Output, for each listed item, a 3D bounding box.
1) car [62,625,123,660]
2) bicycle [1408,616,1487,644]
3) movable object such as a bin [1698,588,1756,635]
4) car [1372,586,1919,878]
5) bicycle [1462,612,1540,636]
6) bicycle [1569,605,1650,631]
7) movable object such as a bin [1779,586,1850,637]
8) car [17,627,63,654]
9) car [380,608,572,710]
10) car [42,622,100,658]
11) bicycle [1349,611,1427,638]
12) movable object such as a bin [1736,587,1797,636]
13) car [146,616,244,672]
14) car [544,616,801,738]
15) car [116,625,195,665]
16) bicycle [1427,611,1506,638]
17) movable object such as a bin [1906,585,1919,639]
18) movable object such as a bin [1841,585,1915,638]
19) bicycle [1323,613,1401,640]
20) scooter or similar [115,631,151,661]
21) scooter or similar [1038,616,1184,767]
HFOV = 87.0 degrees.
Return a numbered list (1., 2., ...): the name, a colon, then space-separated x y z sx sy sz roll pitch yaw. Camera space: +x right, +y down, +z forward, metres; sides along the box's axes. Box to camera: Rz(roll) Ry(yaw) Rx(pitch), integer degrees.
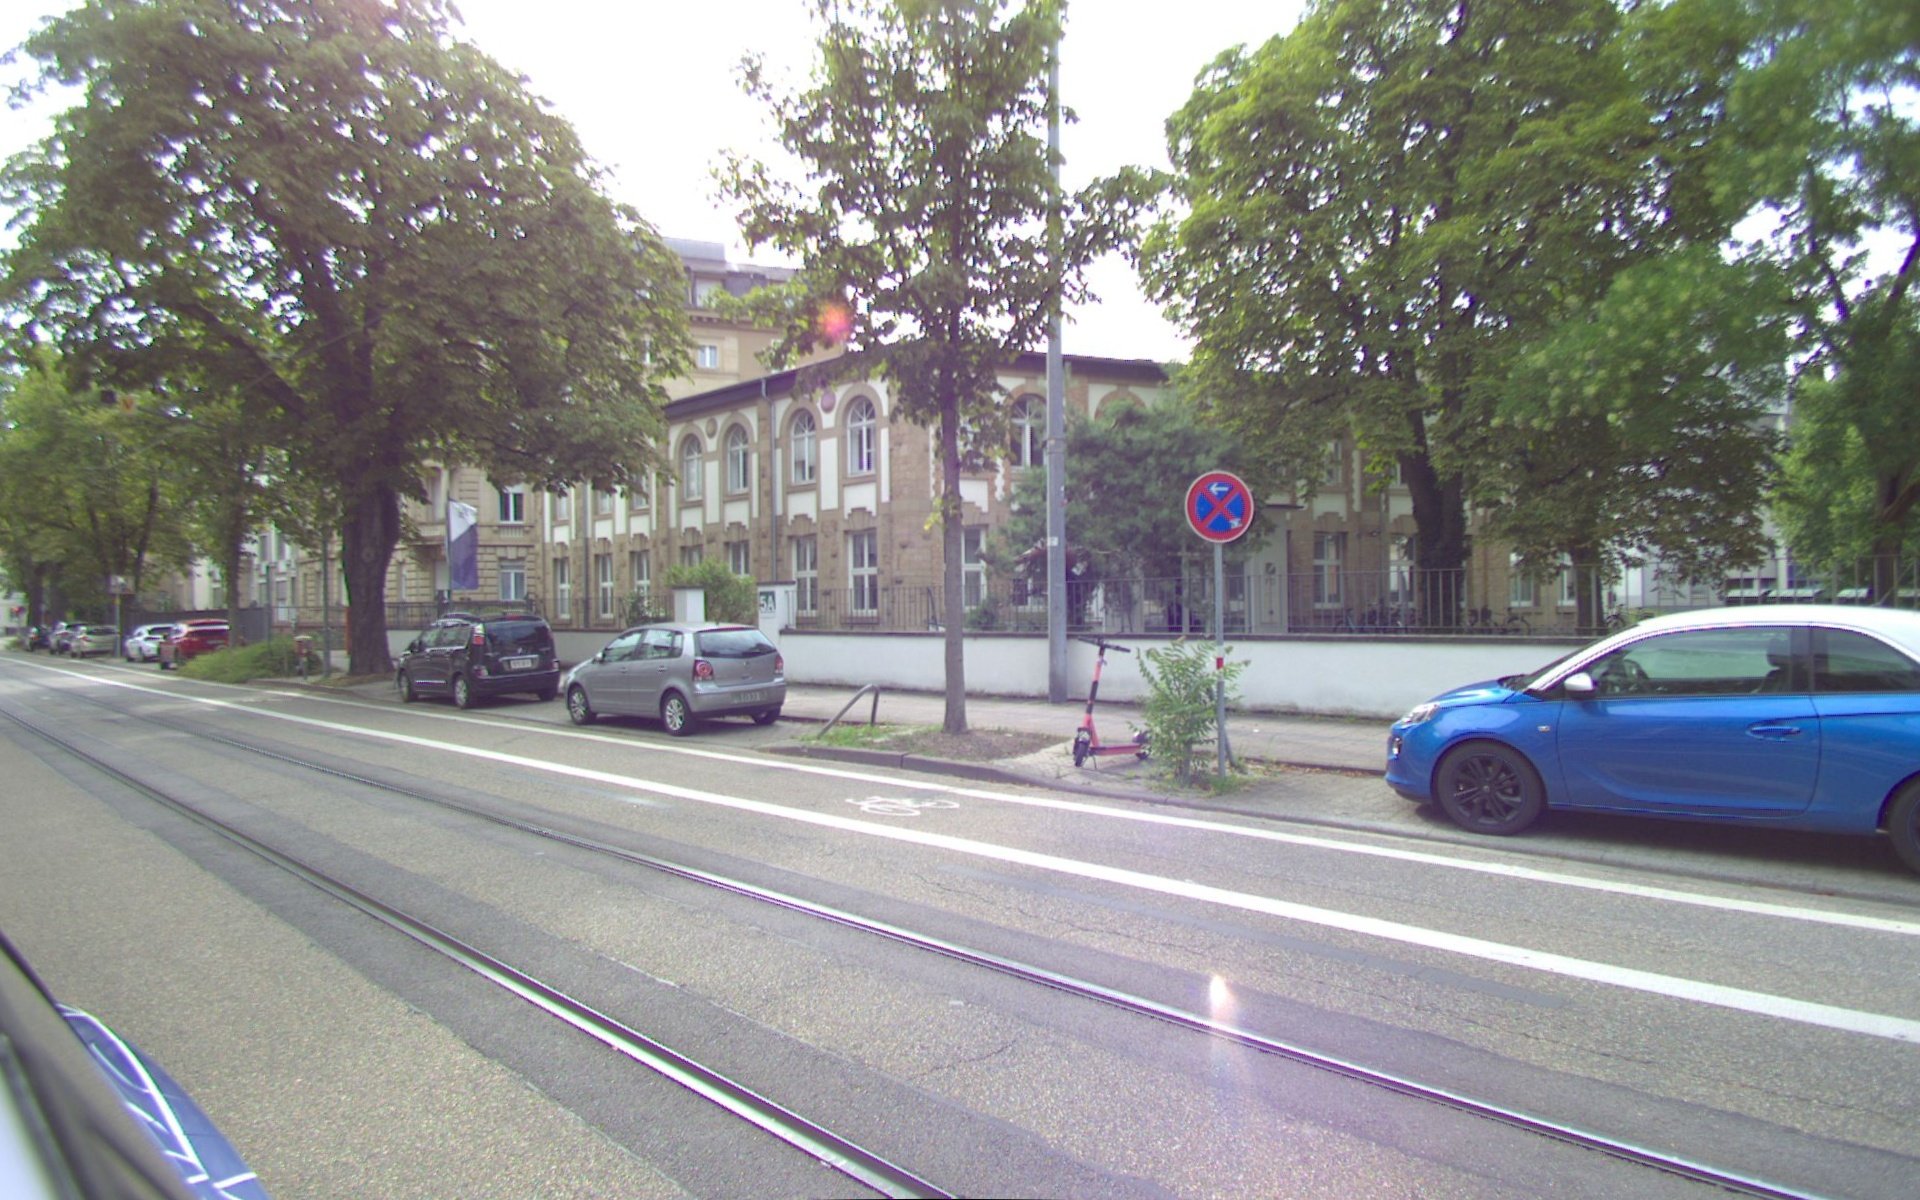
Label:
1. car: -40.103 1.943 46.765 4.077 1.479 1.584 -2 -1 42
2. bicycle: 14.264 0.860 29.695 0.702 0.779 2.053 -2 0 -28
3. movable object such as a bin: 23.456 0.351 30.949 0.954 1.385 1.024 -2 0 -22
4. car: 4.825 0.697 6.503 3.675 1.498 1.675 -1 0 41
5. bicycle: 16.590 0.741 31.056 2.042 0.713 0.706 -2 0 35
6. bicycle: 20.610 0.559 32.147 0.702 0.779 2.053 -2 0 -28
7. movable object such as a bin: 24.249 0.327 28.742 0.954 1.385 1.208 -2 0 -22
8. car: -54.515 2.391 59.953 4.166 1.435 1.701 -2 1 44
9. car: -9.056 1.026 18.803 4.050 1.659 1.737 -1 0 41
10. car: -45.552 2.028 51.829 4.355 1.686 1.692 -2 -1 42
11. bicycle: 12.180 0.700 28.892 0.702 0.713 2.053 -2 0 -28
12. movable object such as a bin: 23.843 0.339 29.925 0.954 1.385 1.024 -2 0 -22
13. car: -25.907 1.447 34.227 4.540 1.667 1.704 -1 1 41
14. car: -4.162 0.992 14.361 3.866 1.438 1.675 -1 0 41
15. car: -32.090 1.765 40.325 4.021 1.434 1.704 -1 1 41
16. bicycle: 15.071 0.721 30.185 0.702 0.779 2.053 -2 0 -28
17. movable object such as a bin: 25.266 0.296 26.016 0.846 1.385 1.097 -2 0 -22
18. movable object such as a bin: 24.839 0.309 27.408 0.846 1.385 1.208 -2 0 -22
19. bicycle: 11.310 0.725 28.535 0.702 0.713 2.053 -2 0 -28
20. scooter or similar: -34.626 1.929 42.388 1.313 1.232 0.559 -1 -1 19
21. scooter or similar: 1.483 0.837 9.813 0.700 1.354 1.427 -2 -2 43
